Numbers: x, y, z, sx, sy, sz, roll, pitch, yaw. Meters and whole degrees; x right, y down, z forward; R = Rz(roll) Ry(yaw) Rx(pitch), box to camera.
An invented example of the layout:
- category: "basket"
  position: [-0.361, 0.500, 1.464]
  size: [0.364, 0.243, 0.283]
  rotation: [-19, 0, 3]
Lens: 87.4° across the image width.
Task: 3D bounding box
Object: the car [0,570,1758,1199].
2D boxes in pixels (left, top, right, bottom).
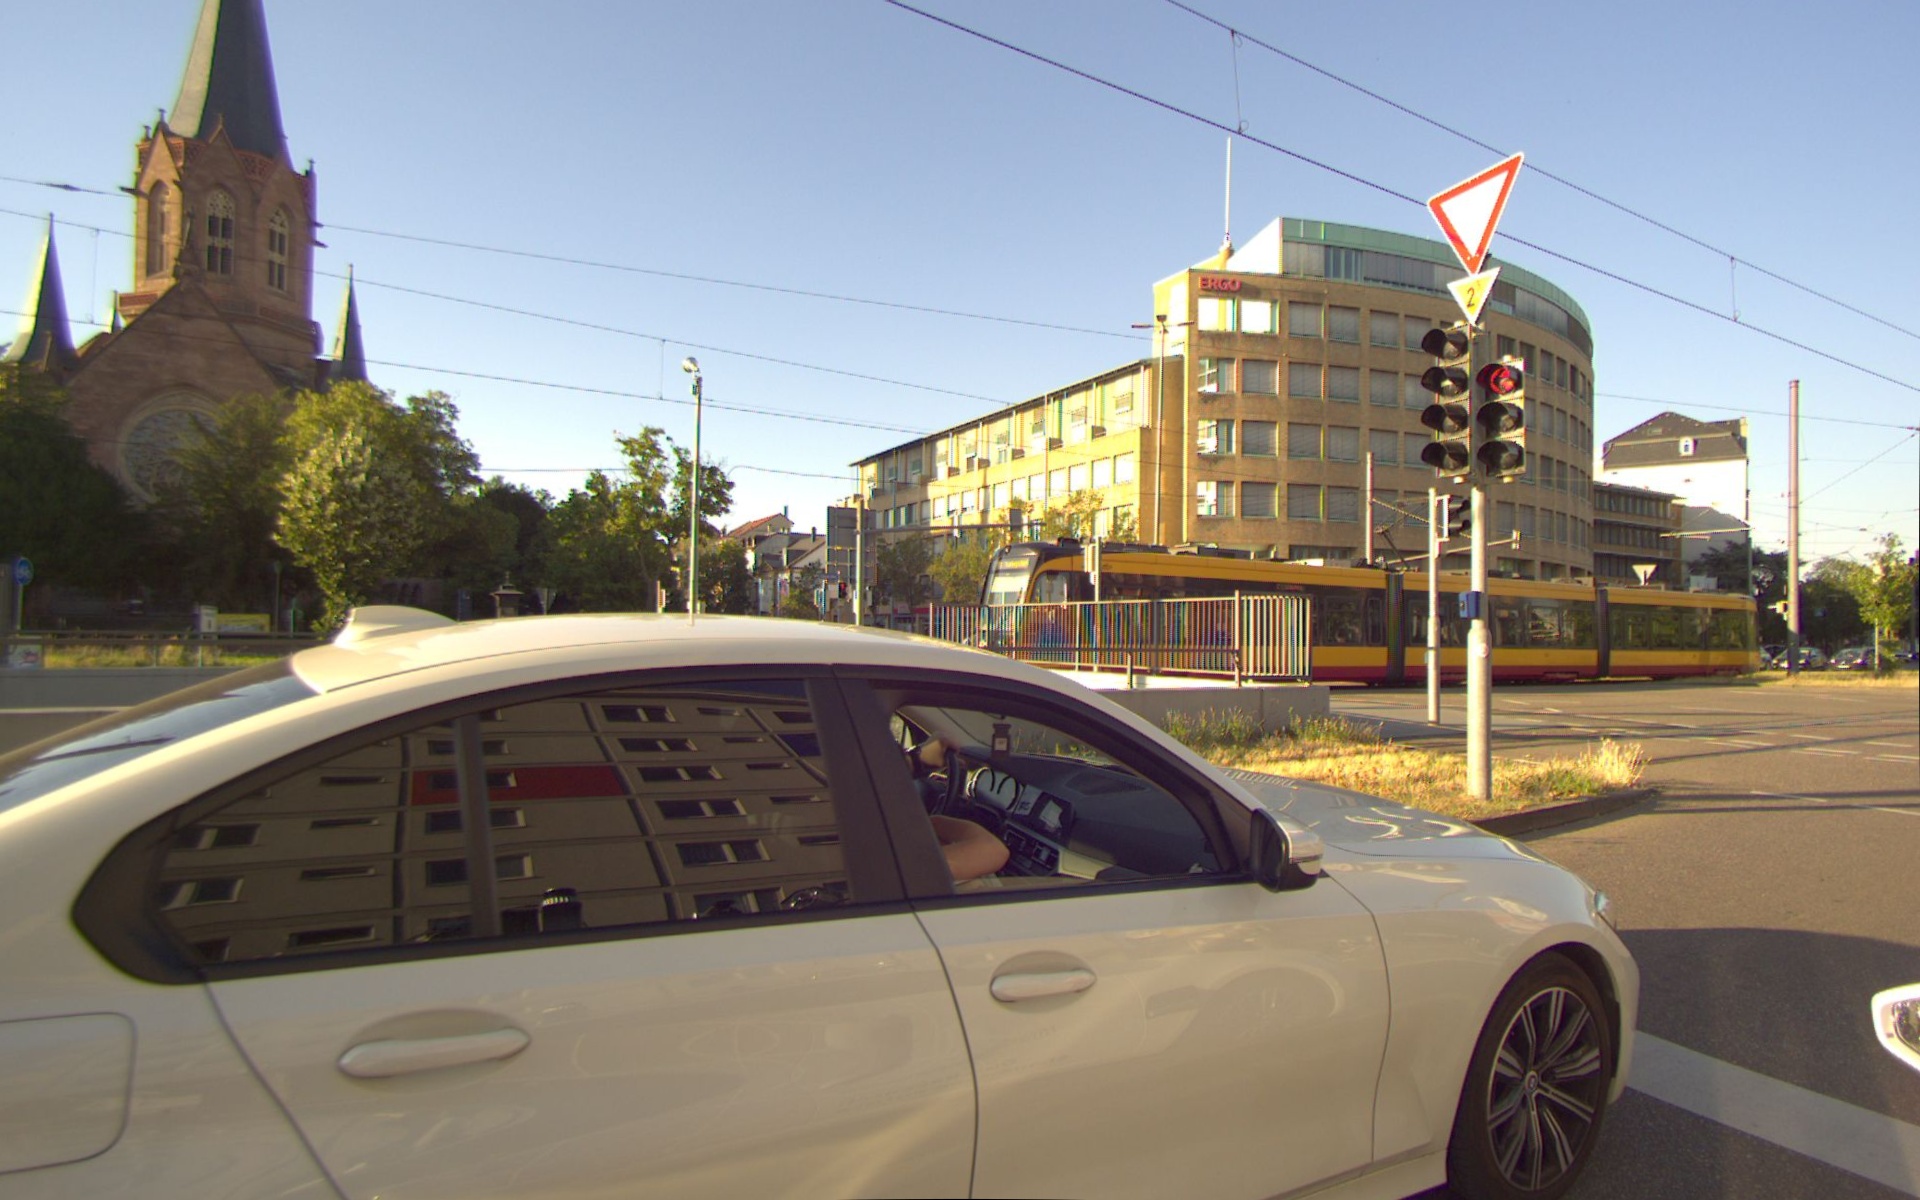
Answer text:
- category: "car"
  position: [-0.146, 0.719, 2.545]
  size: [4.529, 1.419, 1.829]
  rotation: [2, 1, -30]

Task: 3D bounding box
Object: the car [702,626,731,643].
- category: "car"
  position: [-29.821, 4.209, 123.019]
  size: [2.207, 2.040, 4.565]
  rotation: [1, -2, -30]

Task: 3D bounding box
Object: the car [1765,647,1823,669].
- category: "car"
  position: [47.398, 3.272, 57.054]
  size: [3.558, 1.169, 1.512]
  rotation: [2, -2, -32]

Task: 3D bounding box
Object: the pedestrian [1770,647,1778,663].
- category: "pedestrian"
  position: [74.619, 5.028, 92.041]
  size: [0.479, 1.449, 0.411]
  rotation: [1, -1, -30]

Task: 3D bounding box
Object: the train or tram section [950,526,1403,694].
- category: "train or tram section"
  position: [6.081, 0.412, 25.904]
  size: [13.099, 3.582, 2.759]
  rotation: [2, -1, -31]

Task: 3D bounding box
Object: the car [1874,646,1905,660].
- category: "car"
  position: [100.167, 5.713, 108.273]
  size: [1.746, 1.502, 4.298]
  rotation: [0, -2, 33]

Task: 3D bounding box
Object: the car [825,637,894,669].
- category: "car"
  position: [-4.870, 2.531, 48.432]
  size: [1.880, 1.439, 3.969]
  rotation: [2, -2, -29]

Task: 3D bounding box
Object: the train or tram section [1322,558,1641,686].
- category: "train or tram section"
  position: [17.312, 0.813, 32.661]
  size: [13.099, 3.582, 2.759]
  rotation: [2, -1, -31]

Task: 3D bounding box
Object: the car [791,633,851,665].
- category: "car"
  position: [-7.397, 2.561, 53.084]
  size: [1.804, 1.606, 3.969]
  rotation: [1, -2, -30]

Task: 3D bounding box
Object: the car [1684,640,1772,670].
- category: "car"
  position: [40.414, 2.871, 52.851]
  size: [4.721, 1.500, 1.882]
  rotation: [2, -2, -28]

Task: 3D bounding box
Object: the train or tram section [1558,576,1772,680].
- category: "train or tram section"
  position: [27.326, 1.128, 38.676]
  size: [10.449, 3.582, 2.759]
  rotation: [2, -1, -31]

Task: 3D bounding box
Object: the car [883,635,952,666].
- category: "car"
  position: [-2.170, 2.482, 50.063]
  size: [1.880, 1.439, 3.969]
  rotation: [2, -2, -29]

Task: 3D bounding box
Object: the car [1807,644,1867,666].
- category: "car"
  position: [53.120, 3.326, 60.832]
  size: [3.695, 1.298, 1.638]
  rotation: [2, -2, -30]

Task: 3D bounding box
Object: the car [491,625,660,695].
- category: "car"
  position: [-9.359, 1.434, 24.487]
  size: [3.629, 1.560, 1.703]
  rotation: [2, -2, -30]
